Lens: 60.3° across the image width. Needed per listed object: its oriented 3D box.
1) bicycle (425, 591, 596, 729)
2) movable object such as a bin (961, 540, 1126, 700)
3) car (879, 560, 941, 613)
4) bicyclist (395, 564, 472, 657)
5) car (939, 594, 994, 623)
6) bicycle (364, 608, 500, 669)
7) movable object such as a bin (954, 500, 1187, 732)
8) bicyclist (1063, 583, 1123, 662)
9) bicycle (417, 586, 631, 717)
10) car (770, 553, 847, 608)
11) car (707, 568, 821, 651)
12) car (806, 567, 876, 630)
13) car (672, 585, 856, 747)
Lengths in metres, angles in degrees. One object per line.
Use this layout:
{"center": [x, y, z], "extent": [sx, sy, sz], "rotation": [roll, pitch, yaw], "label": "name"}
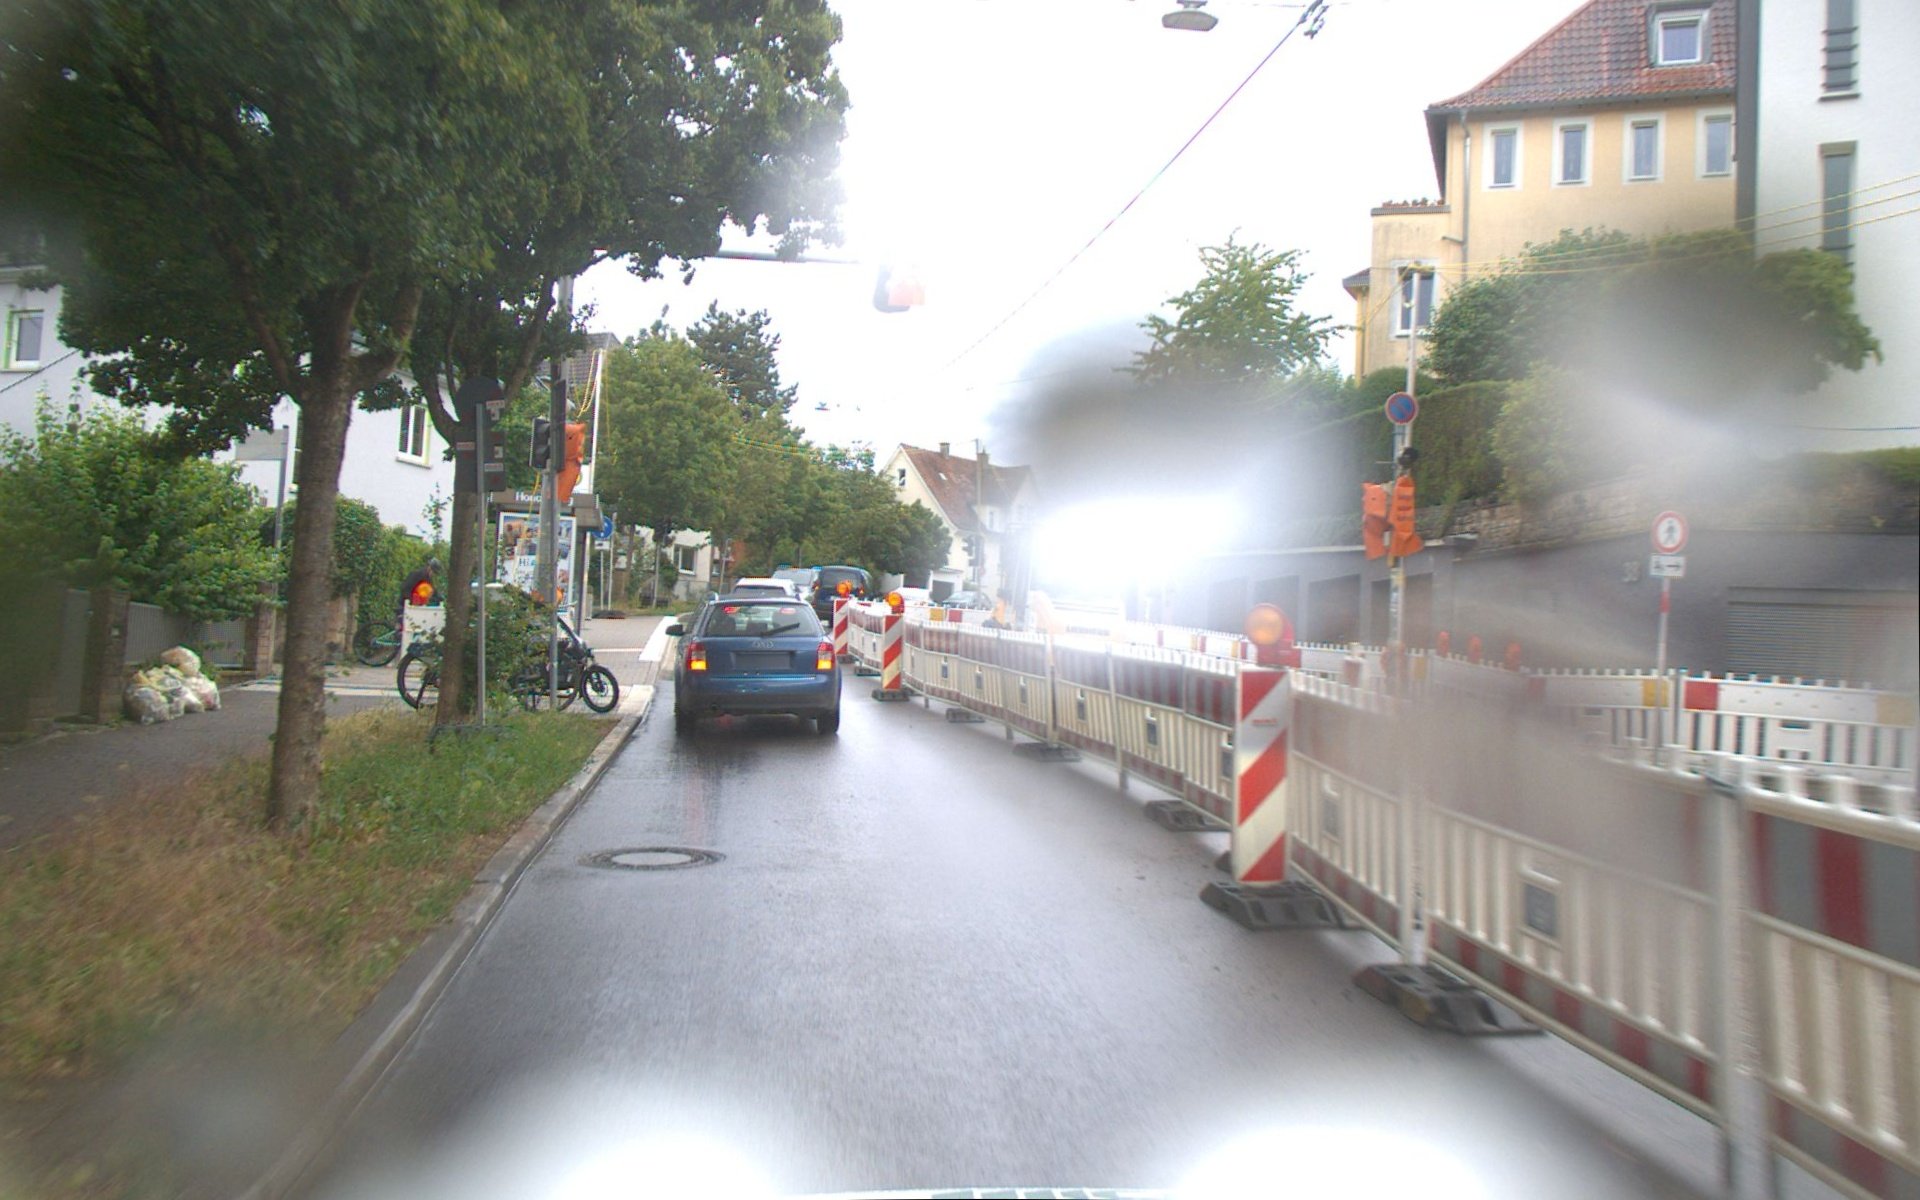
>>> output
{"center": [-4.750, 0.639, 17.520], "extent": [1.663, 1.368, 0.417], "rotation": [3, 1, -16], "label": "bicycle"}
{"center": [1.556, 0.316, 33.351], "extent": [2.048, 2.887, 5.665], "rotation": [2, 1, -9], "label": "movable object such as a bin"}
{"center": [-1.840, -0.469, 61.664], "extent": [1.697, 1.799, 4.237], "rotation": [4, 0, 5], "label": "car"}
{"center": [-8.511, 0.165, 26.755], "extent": [0.888, 1.464, 1.097], "rotation": [1, 0, -2], "label": "bicyclist"}
{"center": [0.370, 0.461, 89.612], "extent": [1.636, 1.492, 3.894], "rotation": [1, -1, 21], "label": "car"}
{"center": [-8.513, 0.614, 26.750], "extent": [1.833, 0.948, 1.097], "rotation": [1, 0, -2], "label": "bicycle"}
{"center": [1.422, 0.284, 24.038], "extent": [2.048, 2.888, 5.663], "rotation": [2, -2, -9], "label": "movable object such as a bin"}
{"center": [3.061, 0.521, 38.047], "extent": [1.052, 1.759, 0.932], "rotation": [3, -1, 25], "label": "bicyclist"}
{"center": [-4.762, 0.561, 18.115], "extent": [2.193, 1.385, 0.806], "rotation": [1, -1, -16], "label": "bicycle"}
{"center": [-5.639, -0.682, 62.225], "extent": [1.856, 1.922, 5.156], "rotation": [1, 0, 7], "label": "car"}
{"center": [-4.238, 0.149, 36.321], "extent": [1.935, 1.663, 4.236], "rotation": [0, 2, 1], "label": "car"}
{"center": [-3.621, -0.095, 50.818], "extent": [1.697, 1.799, 4.237], "rotation": [0, 2, 2], "label": "car"}
{"center": [-2.265, 0.628, 18.239], "extent": [1.703, 1.492, 3.989], "rotation": [0, 2, -11], "label": "car"}
